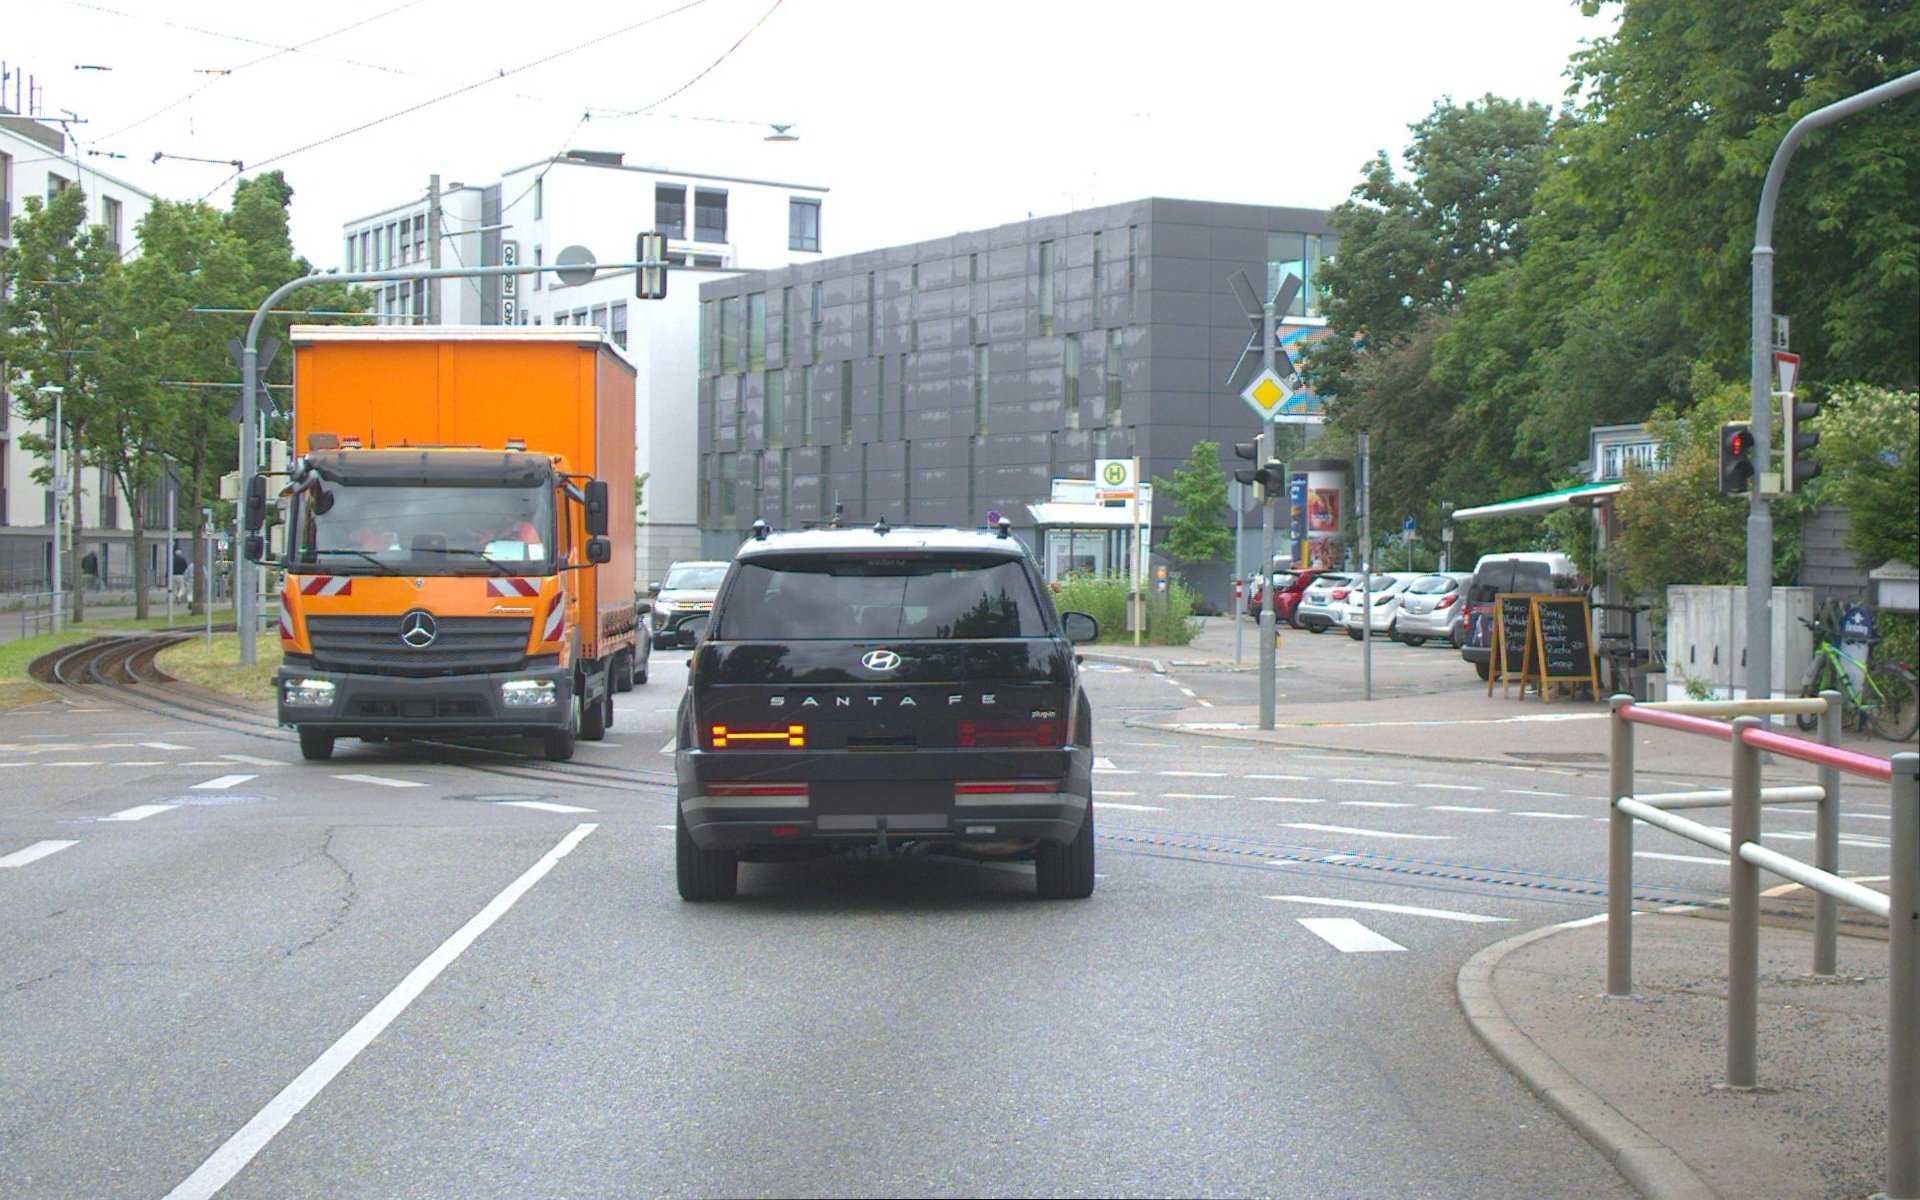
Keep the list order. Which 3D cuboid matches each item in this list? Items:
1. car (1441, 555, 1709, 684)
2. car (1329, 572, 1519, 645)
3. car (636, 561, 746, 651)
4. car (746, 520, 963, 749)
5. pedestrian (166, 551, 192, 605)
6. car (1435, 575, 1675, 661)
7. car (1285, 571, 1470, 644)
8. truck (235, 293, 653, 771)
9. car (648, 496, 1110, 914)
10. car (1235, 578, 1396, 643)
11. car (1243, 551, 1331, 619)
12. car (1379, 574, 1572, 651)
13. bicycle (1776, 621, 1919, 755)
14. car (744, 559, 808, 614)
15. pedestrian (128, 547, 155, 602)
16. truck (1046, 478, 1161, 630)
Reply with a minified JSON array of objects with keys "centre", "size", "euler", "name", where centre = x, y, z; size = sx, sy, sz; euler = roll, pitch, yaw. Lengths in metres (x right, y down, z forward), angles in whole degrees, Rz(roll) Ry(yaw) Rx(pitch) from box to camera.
[{"centre":[8.881,0.240,49.378],"size":[1.849,1.742,4.685],"euler":[1,1,37],"name":"car"},{"centre":[9.677,0.173,71.654],"size":[3.638,1.430,1.592],"euler":[-1,0,-27],"name":"car"},{"centre":[-5.087,0.091,65.431],"size":[1.788,1.656,4.277],"euler":[0,1,-1],"name":"car"},{"centre":[-1.075,0.269,32.767],"size":[1.855,2.026,4.438],"euler":[0,1,-4],"name":"car"},{"centre":[-24.585,-0.682,108.176],"size":[0.613,1.689,0.785],"euler":[1,0,-1],"name":"pedestrian"},{"centre":[10.665,0.322,61.594],"size":[3.987,1.472,1.880],"euler":[0,0,-32],"name":"car"},{"centre":[9.444,0.167,77.703],"size":[3.790,1.469,1.798],"euler":[3,-1,-30],"name":"car"},{"centre":[-4.397,-0.548,31.029],"size":[2.768,3.706,8.469],"euler":[0,0,-2],"name":"truck"},{"centre":[-0.449,0.426,16.783],"size":[1.915,1.719,4.171],"euler":[2,1,-3],"name":"car"},{"centre":[8.584,0.258,83.008],"size":[3.491,1.450,1.681],"euler":[2,0,-28],"name":"car"},{"centre":[9.249,-0.409,97.547],"size":[1.993,1.831,4.518],"euler":[-1,0,-1],"name":"car"},{"centre":[10.003,0.222,66.646],"size":[3.505,1.373,1.547],"euler":[-1,3,-31],"name":"car"},{"centre":[8.687,0.850,33.667],"size":[0.548,1.135,1.879],"euler":[1,4,-13],"name":"bicycle"},{"centre":[-5.364,-0.402,100.624],"size":[1.739,1.554,4.184],"euler":[0,0,-1],"name":"car"},{"centre":[-25.609,-0.787,107.554],"size":[0.613,1.689,0.785],"euler":[1,0,-1],"name":"pedestrian"},{"centre":[3.442,-1.112,83.971],"size":[2.573,3.513,7.810],"euler":[0,1,1],"name":"truck"}]
